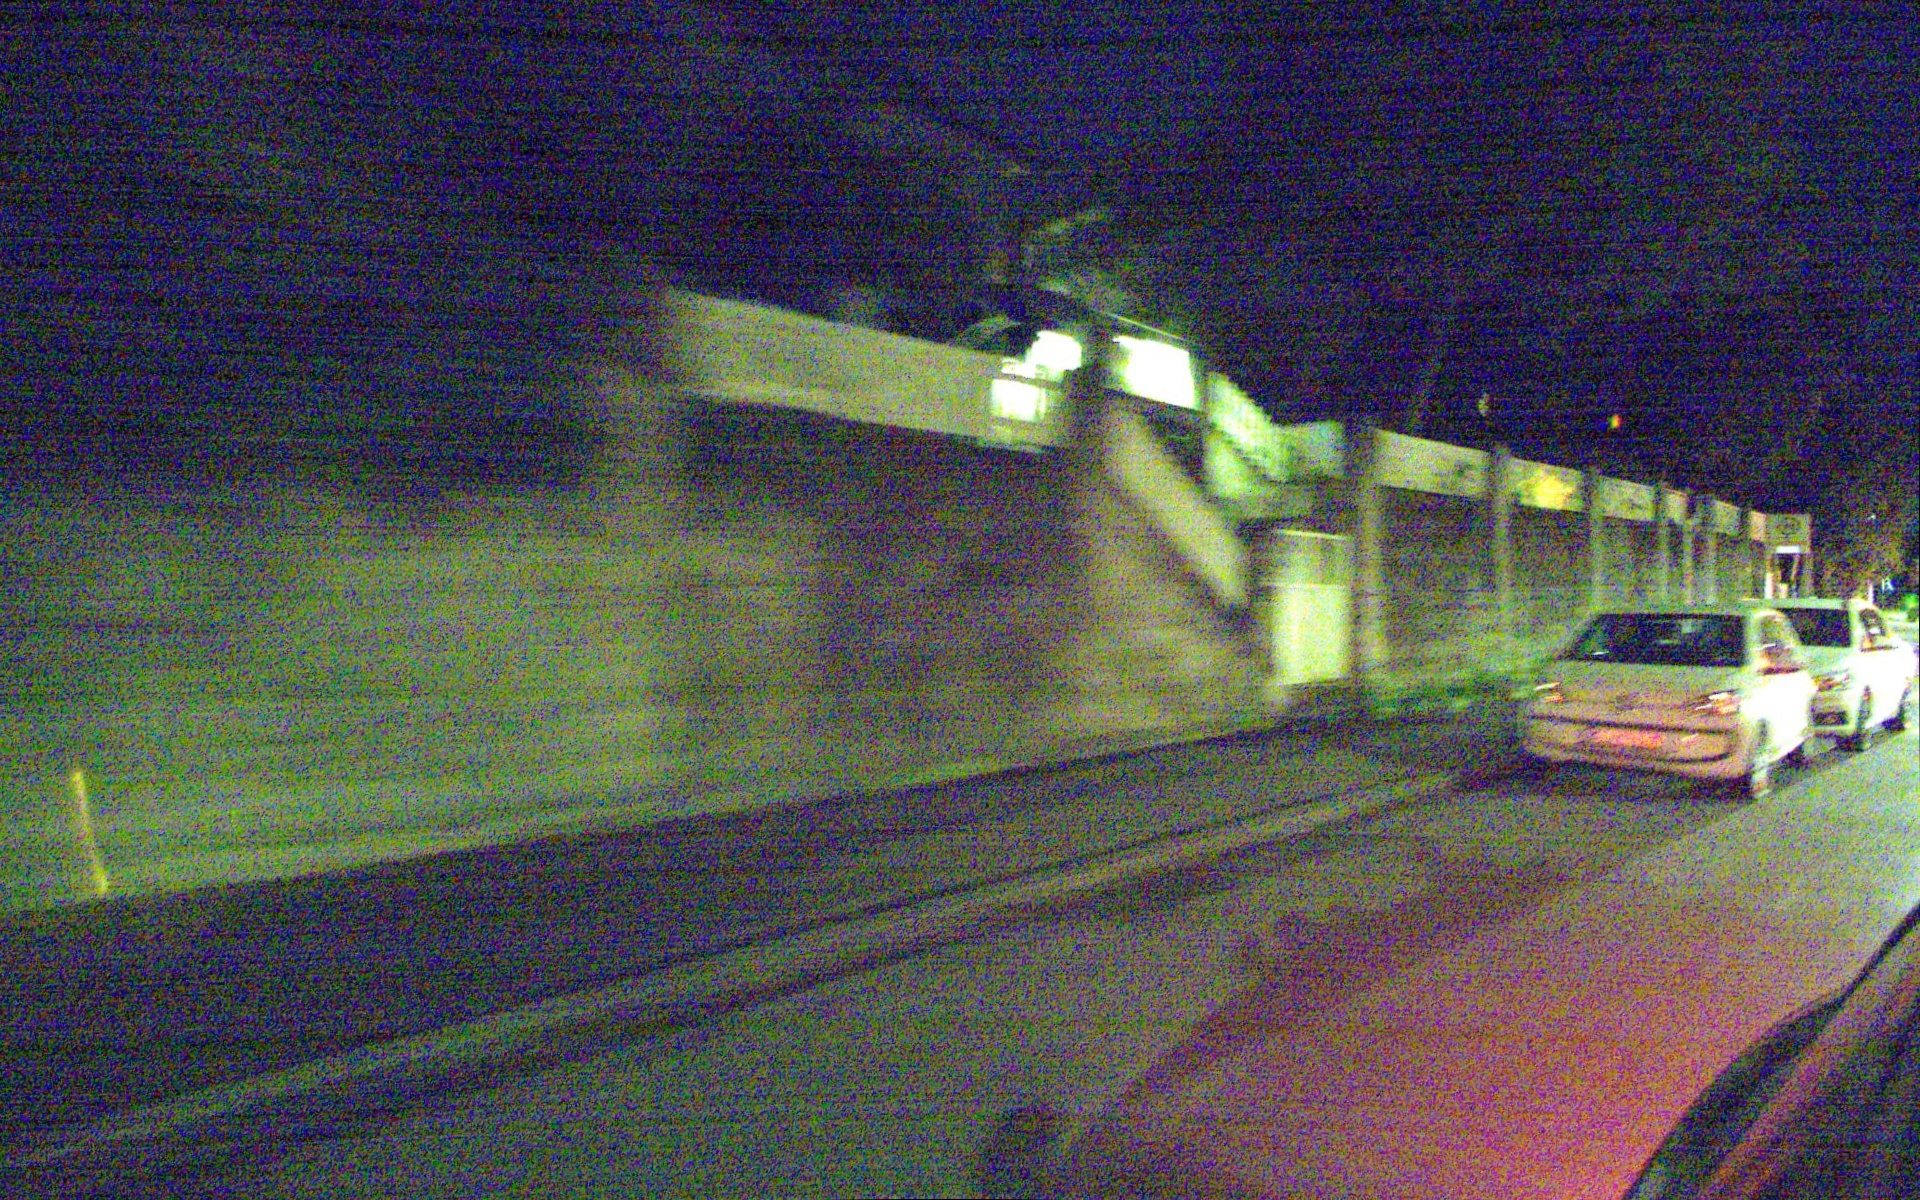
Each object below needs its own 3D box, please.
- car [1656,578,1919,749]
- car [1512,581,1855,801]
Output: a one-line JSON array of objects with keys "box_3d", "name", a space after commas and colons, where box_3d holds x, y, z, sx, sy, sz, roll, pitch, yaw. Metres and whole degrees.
[{"box_3d": [9.843, 0.599, 11.722, 4.644, 1.614, 1.758, 0, -1, -40], "name": "car"}, {"box_3d": [6.446, 0.657, 8.879, 3.651, 1.479, 1.612, 1, 2, -41], "name": "car"}]
